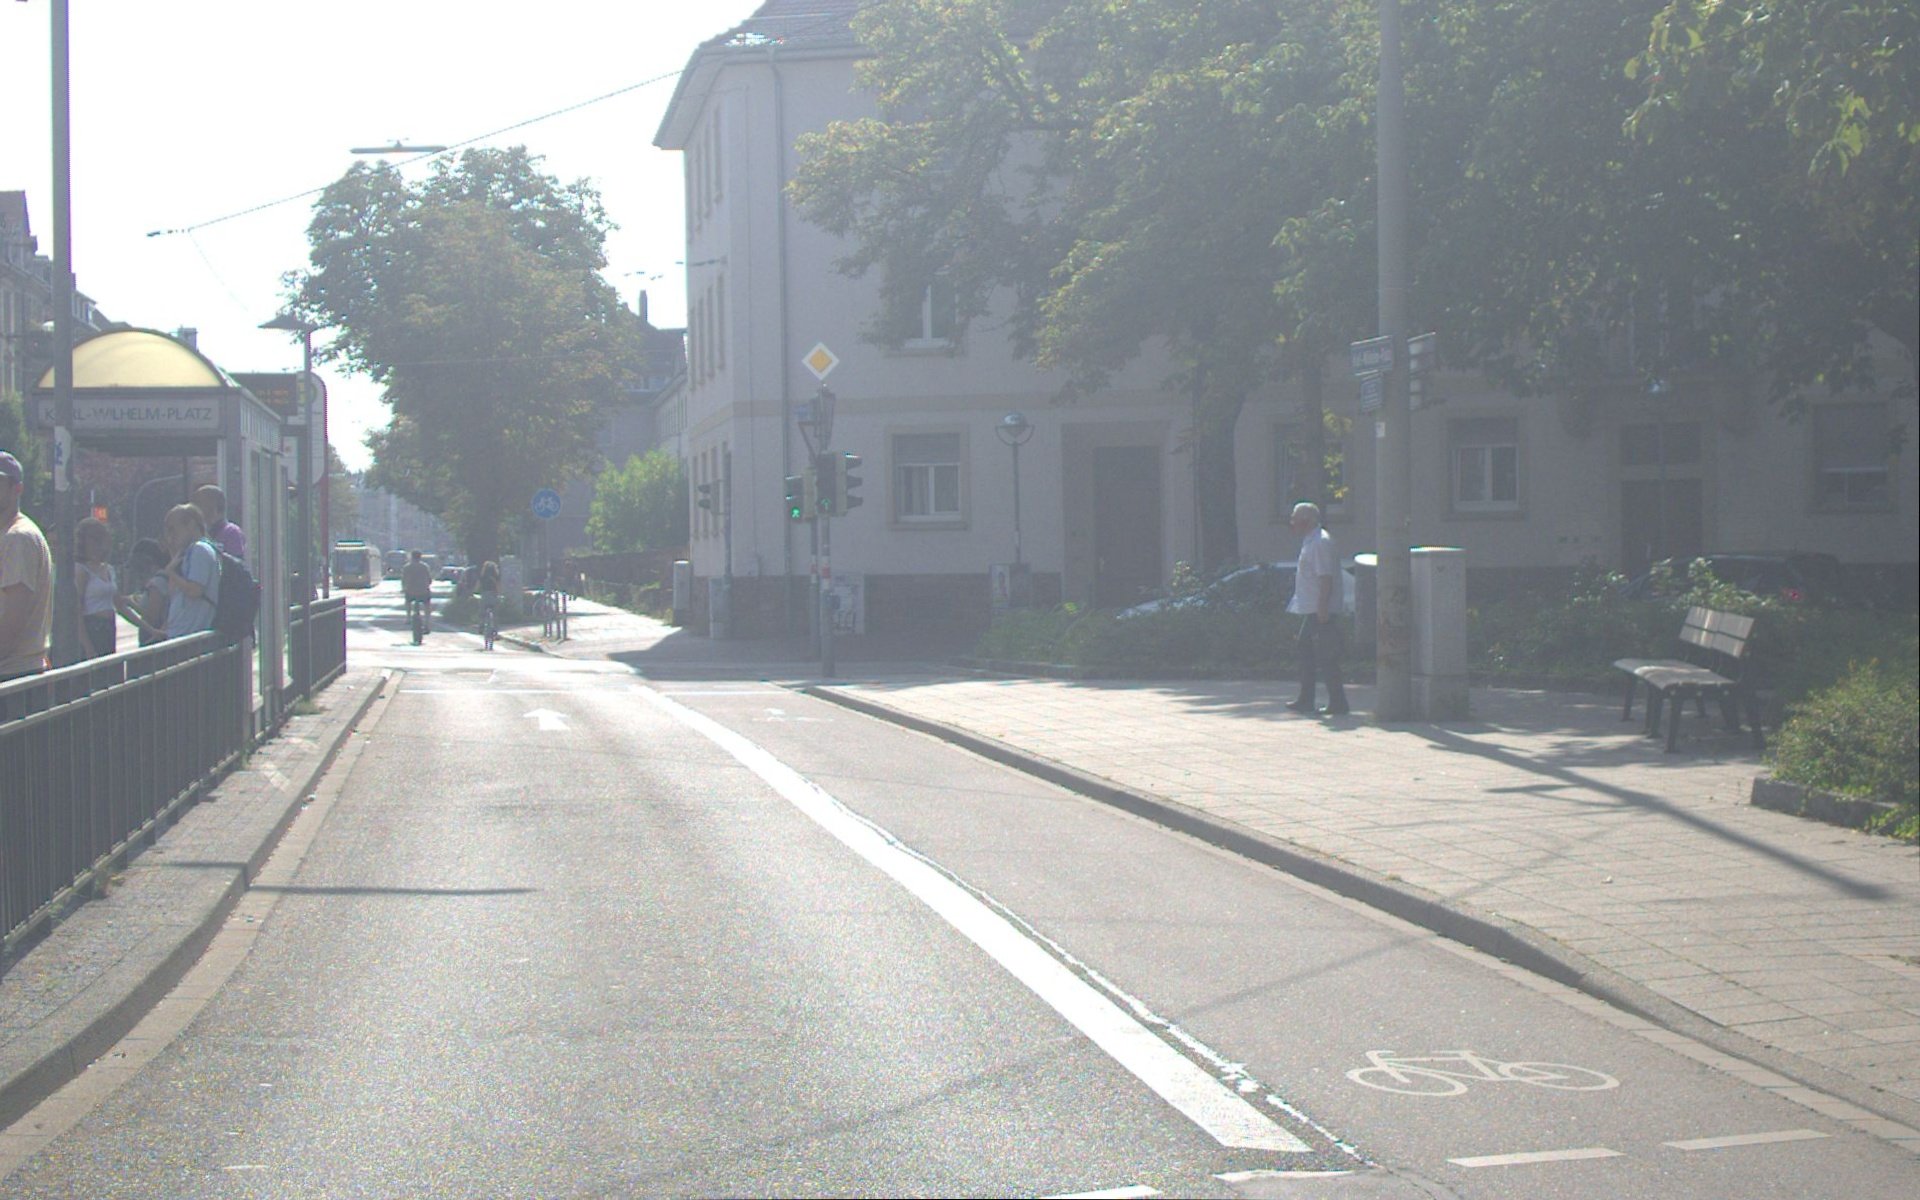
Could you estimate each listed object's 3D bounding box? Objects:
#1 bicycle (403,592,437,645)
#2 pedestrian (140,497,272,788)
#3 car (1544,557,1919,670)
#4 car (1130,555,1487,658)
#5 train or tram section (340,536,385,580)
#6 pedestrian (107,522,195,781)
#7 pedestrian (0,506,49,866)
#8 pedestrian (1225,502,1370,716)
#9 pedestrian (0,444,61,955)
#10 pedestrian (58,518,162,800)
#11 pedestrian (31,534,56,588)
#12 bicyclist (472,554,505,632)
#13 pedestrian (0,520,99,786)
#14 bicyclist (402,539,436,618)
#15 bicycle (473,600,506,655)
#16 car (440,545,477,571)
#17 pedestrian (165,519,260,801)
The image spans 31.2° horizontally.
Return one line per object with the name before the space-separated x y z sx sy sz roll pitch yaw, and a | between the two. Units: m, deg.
bicycle | -10.465 0.355 66.581 0.628 0.974 1.771 -1 1 -9
pedestrian | -4.687 0.256 21.393 0.708 1.753 0.534 2 3 -7
car | 9.667 0.147 42.739 4.332 1.316 1.995 0 1 40
car | 4.661 0.078 46.119 4.330 1.316 1.996 0 1 32
train or tram section | -43.119 -3.038 248.106 2.214 3.155 6.149 -1 1 -1
pedestrian | -5.626 0.352 23.920 0.504 1.753 0.534 2 3 -7
pedestrian | -4.861 0.416 17.146 0.504 1.753 0.534 2 3 -7
pedestrian | 2.786 0.067 28.372 0.893 1.734 0.774 0 1 39
pedestrian | -3.598 0.344 12.558 0.504 1.827 0.534 2 3 -7
pedestrian | -5.417 0.368 21.932 0.543 1.753 0.534 2 3 -7
pedestrian | -29.655 -1.274 111.257 0.749 1.725 0.772 -1 1 -16
bicyclist | -8.719 -0.137 63.558 0.558 1.412 0.872 -1 1 -9
pedestrian | -6.159 0.350 23.272 0.532 1.753 0.545 2 3 -6
bicyclist | -10.470 -0.417 66.569 0.628 1.502 0.679 -1 1 -9
bicycle | -8.701 0.501 63.554 0.558 0.974 1.857 -1 1 -9
car | -34.707 -2.907 238.127 1.993 1.777 4.000 0 1 -1
pedestrian | -4.779 0.376 22.006 0.504 1.753 0.534 2 3 -7
